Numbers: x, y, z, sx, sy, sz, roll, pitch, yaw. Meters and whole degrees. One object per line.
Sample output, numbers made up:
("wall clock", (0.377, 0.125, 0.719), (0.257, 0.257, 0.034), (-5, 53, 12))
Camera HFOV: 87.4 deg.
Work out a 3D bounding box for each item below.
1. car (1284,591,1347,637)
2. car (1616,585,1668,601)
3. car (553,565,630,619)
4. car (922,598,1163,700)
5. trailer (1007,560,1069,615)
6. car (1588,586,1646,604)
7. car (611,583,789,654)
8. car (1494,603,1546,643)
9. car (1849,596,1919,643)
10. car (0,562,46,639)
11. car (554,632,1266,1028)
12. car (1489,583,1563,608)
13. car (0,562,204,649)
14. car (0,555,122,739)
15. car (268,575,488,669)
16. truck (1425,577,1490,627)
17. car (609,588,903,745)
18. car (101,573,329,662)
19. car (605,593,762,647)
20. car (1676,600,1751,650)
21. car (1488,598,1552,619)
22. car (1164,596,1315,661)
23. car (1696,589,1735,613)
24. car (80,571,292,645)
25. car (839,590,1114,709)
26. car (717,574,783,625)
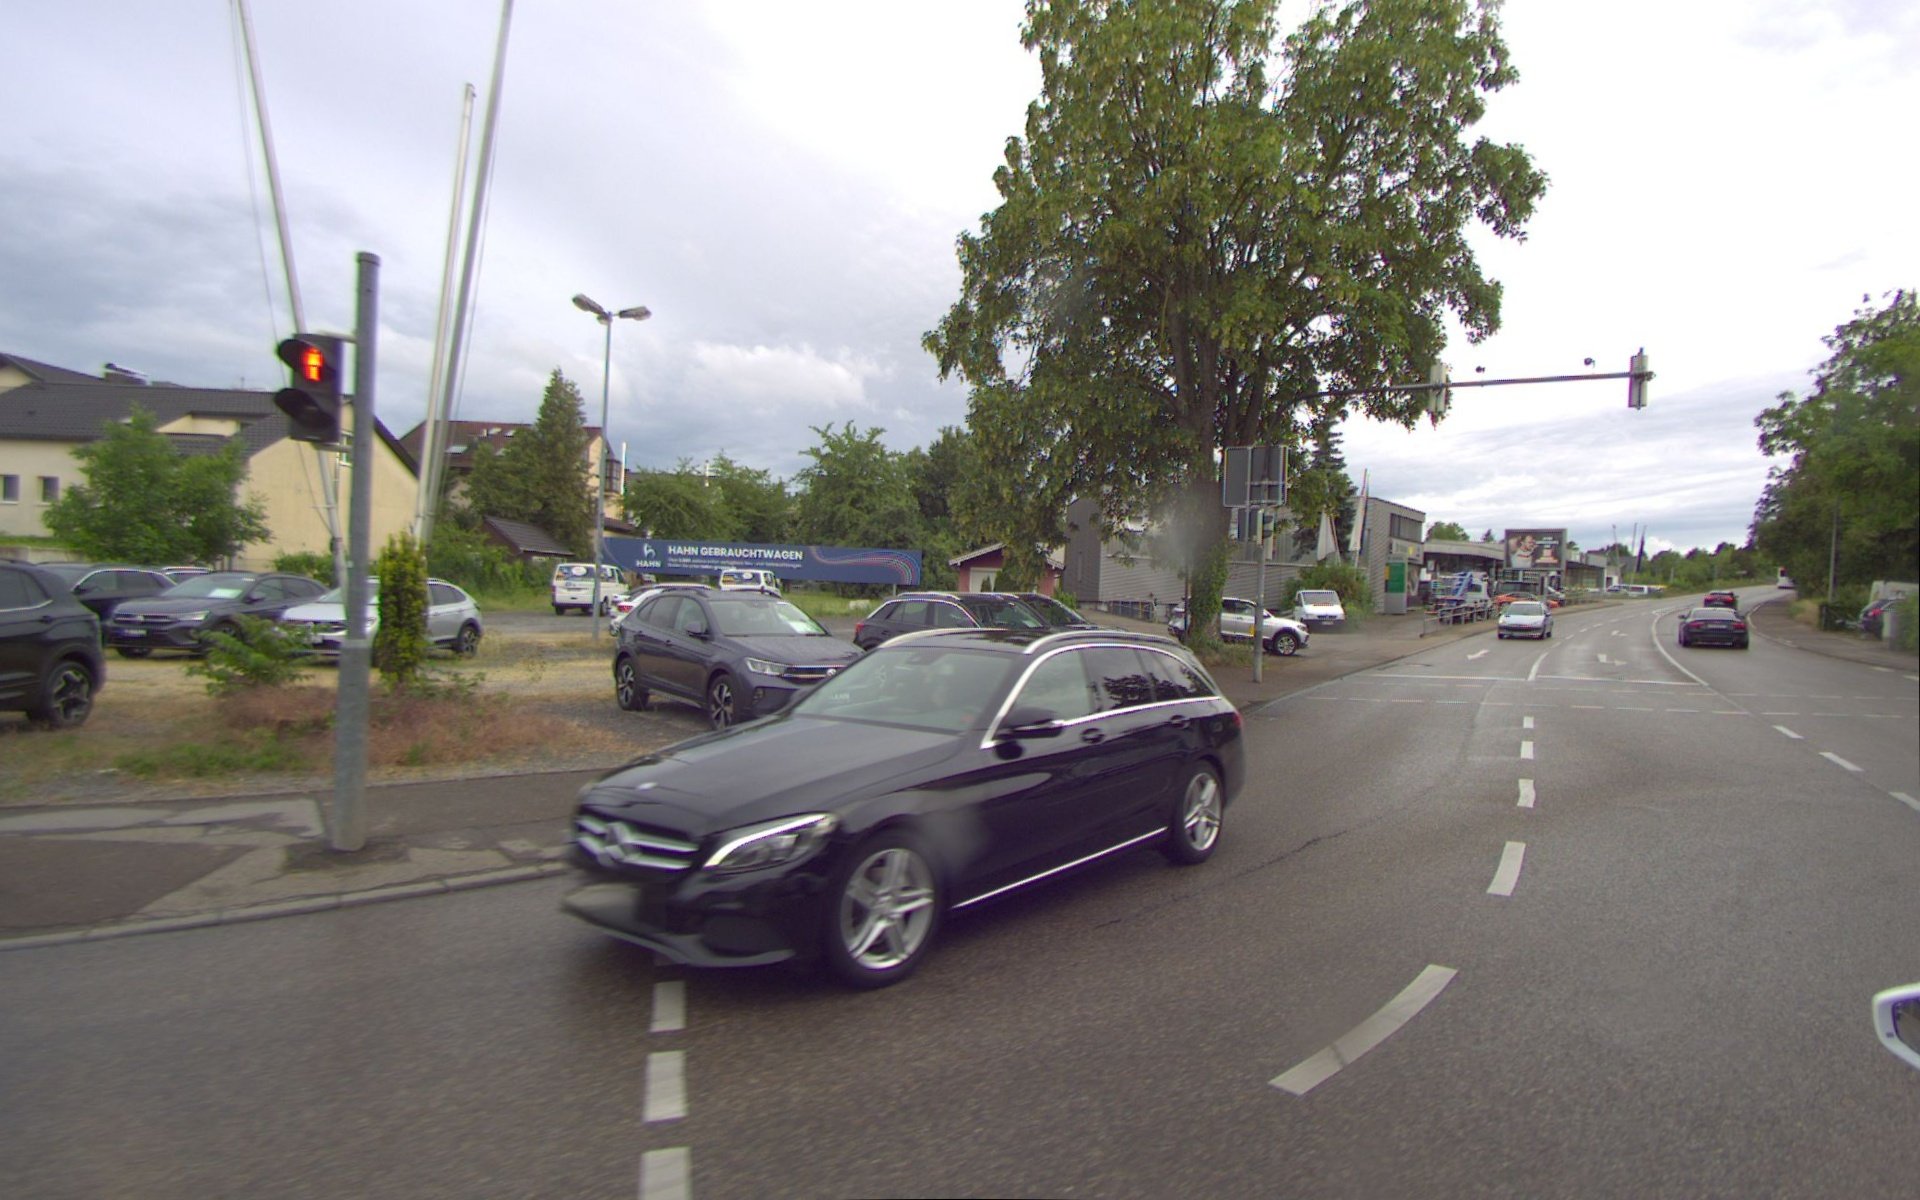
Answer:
("car", (16.822, 0.631, 47.730), (1.959, 2.021, 4.002), (1, 1, 7))
("car", (80.352, -0.795, 118.373), (4.675, 1.645, 1.815), (2, 1, 8))
("car", (-14.587, -0.336, 40.002), (1.690, 2.000, 4.191), (1, 1, -3))
("car", (1.423, 0.781, 17.885), (3.932, 1.530, 1.752), (2, 2, 34))
("trailer", (4.259, -0.708, 55.672), (2.569, 2.800, 5.023), (2, 1, -5))
("car", (67.986, -0.555, 103.953), (4.675, 1.645, 1.815), (2, 1, 8))
("car", (-6.133, 0.432, 23.913), (3.933, 1.576, 1.707), (1, 1, -15))
("car", (22.491, 0.889, 40.294), (1.564, 1.423, 3.697), (2, 2, 33))
("car", (37.527, 0.785, 39.297), (3.939, 1.747, 1.991), (2, 2, 39))
("car", (-18.888, 0.008, 17.976), (1.560, 1.447, 3.645), (1, 1, 4))
("car", (0.117, 0.896, 5.839), (1.686, 1.410, 4.330), (-1, -2, 39))
("car", (42.916, -0.348, 76.215), (4.692, 1.645, 1.809), (3, 1, 35))
("car", (-16.026, 0.048, 18.514), (1.561, 1.447, 3.642), (1, 1, -3))
("car", (-8.809, 0.395, 7.861), (1.592, 1.551, 3.953), (1, 1, -8))
("car", (-10.262, 0.414, 18.061), (1.559, 1.483, 3.775), (1, -2, 3))
("truck", (27.153, 0.073, 54.678), (1.969, 2.573, 5.534), (3, 2, 39))
("car", (-2.528, 0.634, 11.741), (1.742, 1.510, 3.936), (-1, 0, -39))
("car", (-12.992, 0.245, 17.801), (1.488, 1.393, 3.642), (1, 1, -3))
("car", (-7.379, 0.524, 27.019), (3.933, 1.331, 1.707), (1, 1, -15))
("car", (26.626, 0.827, 35.511), (1.968, 1.595, 3.984), (2, 2, 37))
("car", (41.081, 0.614, 73.751), (3.925, 1.394, 1.813), (2, 1, 26))
("car", (8.212, 0.821, 29.774), (3.921, 1.542, 1.760), (5, 1, 1))
("car", (54.976, 0.085, 73.050), (1.970, 1.706, 3.980), (2, 1, 41))
("car", (-18.225, 0.142, 23.924), (1.718, 1.573, 4.001), (1, 1, 6))
("car", (0.177, 0.652, 15.247), (3.938, 1.576, 1.749), (0, 1, 39))
("car", (-8.393, -0.062, 40.583), (1.962, 1.896, 4.448), (1, 1, -4))
